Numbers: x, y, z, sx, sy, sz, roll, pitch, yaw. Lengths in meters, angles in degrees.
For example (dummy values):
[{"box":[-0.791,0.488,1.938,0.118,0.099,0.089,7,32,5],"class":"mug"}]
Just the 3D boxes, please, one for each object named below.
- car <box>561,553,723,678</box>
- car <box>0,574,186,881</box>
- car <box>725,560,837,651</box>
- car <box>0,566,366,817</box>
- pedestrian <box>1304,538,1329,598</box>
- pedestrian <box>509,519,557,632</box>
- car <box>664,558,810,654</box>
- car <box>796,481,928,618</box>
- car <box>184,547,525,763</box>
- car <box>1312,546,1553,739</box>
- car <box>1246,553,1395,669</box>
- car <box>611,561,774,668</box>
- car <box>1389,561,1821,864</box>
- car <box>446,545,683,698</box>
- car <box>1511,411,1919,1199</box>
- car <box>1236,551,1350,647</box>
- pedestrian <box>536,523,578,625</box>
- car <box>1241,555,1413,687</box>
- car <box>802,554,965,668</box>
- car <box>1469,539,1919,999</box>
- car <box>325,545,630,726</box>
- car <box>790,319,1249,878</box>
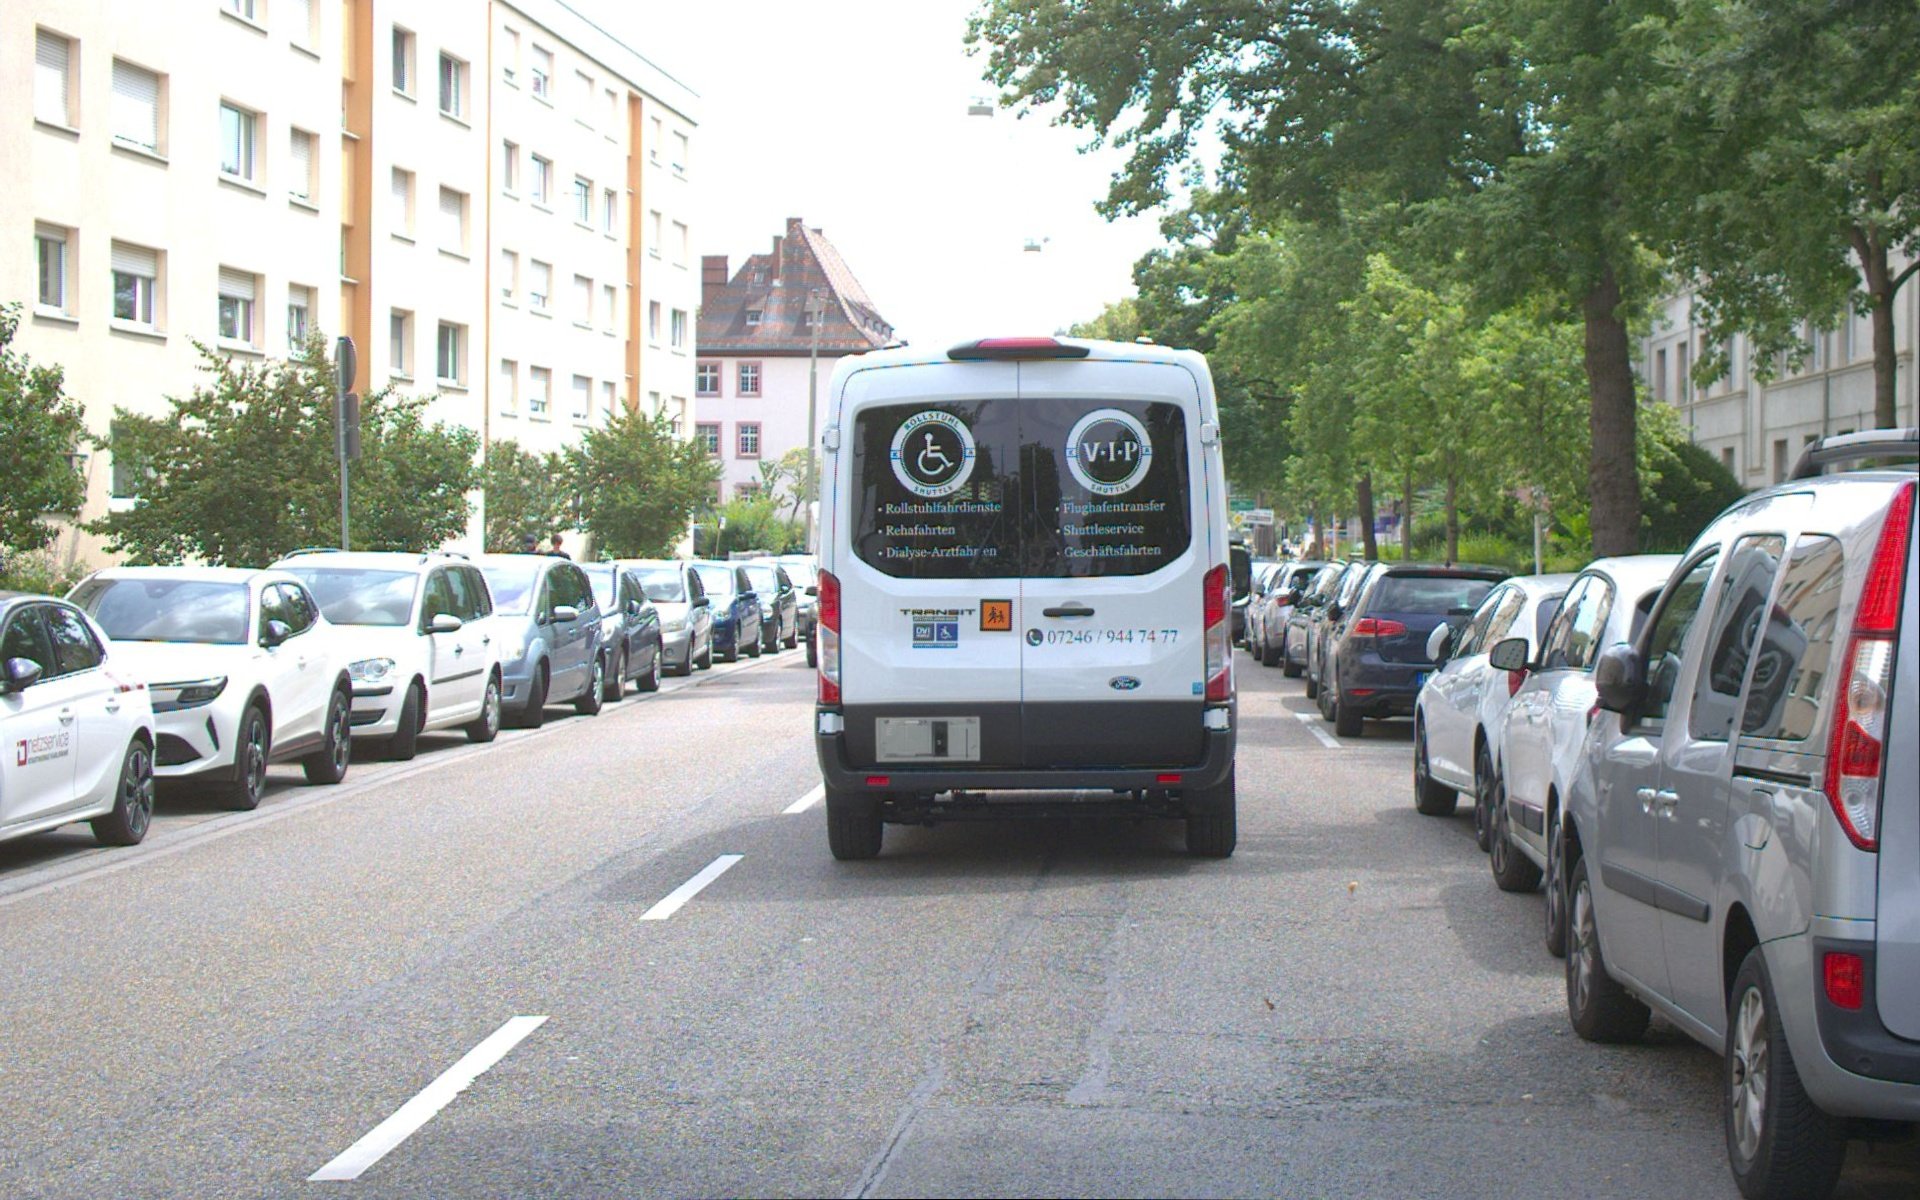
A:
[{"box":[-4.265,0.178,46.617,1.670,1.556,3.851,2,1,2],"class":"car"},{"box":[-5.524,0.620,18.022,1.709,1.468,3.989,2,1,5],"class":"car"},{"box":[-3.275,0.077,63.484,1.723,1.534,4.005,0,2,2],"class":"car"},{"box":[-5.285,0.544,23.282,1.708,1.468,3.989,2,1,1],"class":"car"},{"box":[10.921,-0.977,105.379,0.522,1.822,0.524,-1,1,-39],"class":"pedestrian"},{"box":[-6.916,-0.401,55.660,0.619,1.807,0.899,1,1,1],"class":"pedestrian"},{"box":[-3.680,0.071,57.390,1.818,1.478,4.115,2,1,5],"class":"car"},{"box":[-2.246,-1.213,81.231,2.511,3.013,7.396,2,1,2],"class":"car"},{"box":[-4.962,0.387,28.782,1.697,1.607,4.477,2,1,5],"class":"car"},{"box":[3.950,0.306,29.283,1.697,1.464,4.101,2,1,4],"class":"car"},{"box":[4.960,0.113,47.765,1.697,1.464,4.718,2,1,2],"class":"car"},{"box":[-3.997,0.186,51.998,1.818,1.478,3.884,2,1,5],"class":"car"},{"box":[3.448,0.534,19.078,1.697,1.445,4.101,1,1,1],"class":"car"},{"box":[-4.485,0.200,39.619,1.942,1.607,4.301,2,1,4],"class":"car"},{"box":[2.731,0.525,9.534,1.918,1.859,4.845,2,1,4],"class":"car"},{"box":[5.608,-0.049,57.691,1.780,1.464,4.613,2,1,6],"class":"car"},{"box":[-7.149,-0.464,60.985,0.619,1.807,0.803,0,1,1],"class":"pedestrian"},{"box":[4.477,0.213,42.513,1.697,1.464,4.754,2,1,2],"class":"car"},{"box":[-1.061,0.126,50.140,1.951,1.516,4.613,-2,1,3],"class":"car"},{"box":[3.089,0.580,14.264,1.605,1.602,3.804,2,1,4],"class":"car"},{"box":[-4.699,0.289,34.196,1.942,1.607,4.861,2,1,5],"class":"car"},{"box":[0.320,-0.028,18.001,2.070,2.531,4.634,0,1,1],"class":"car"}]
